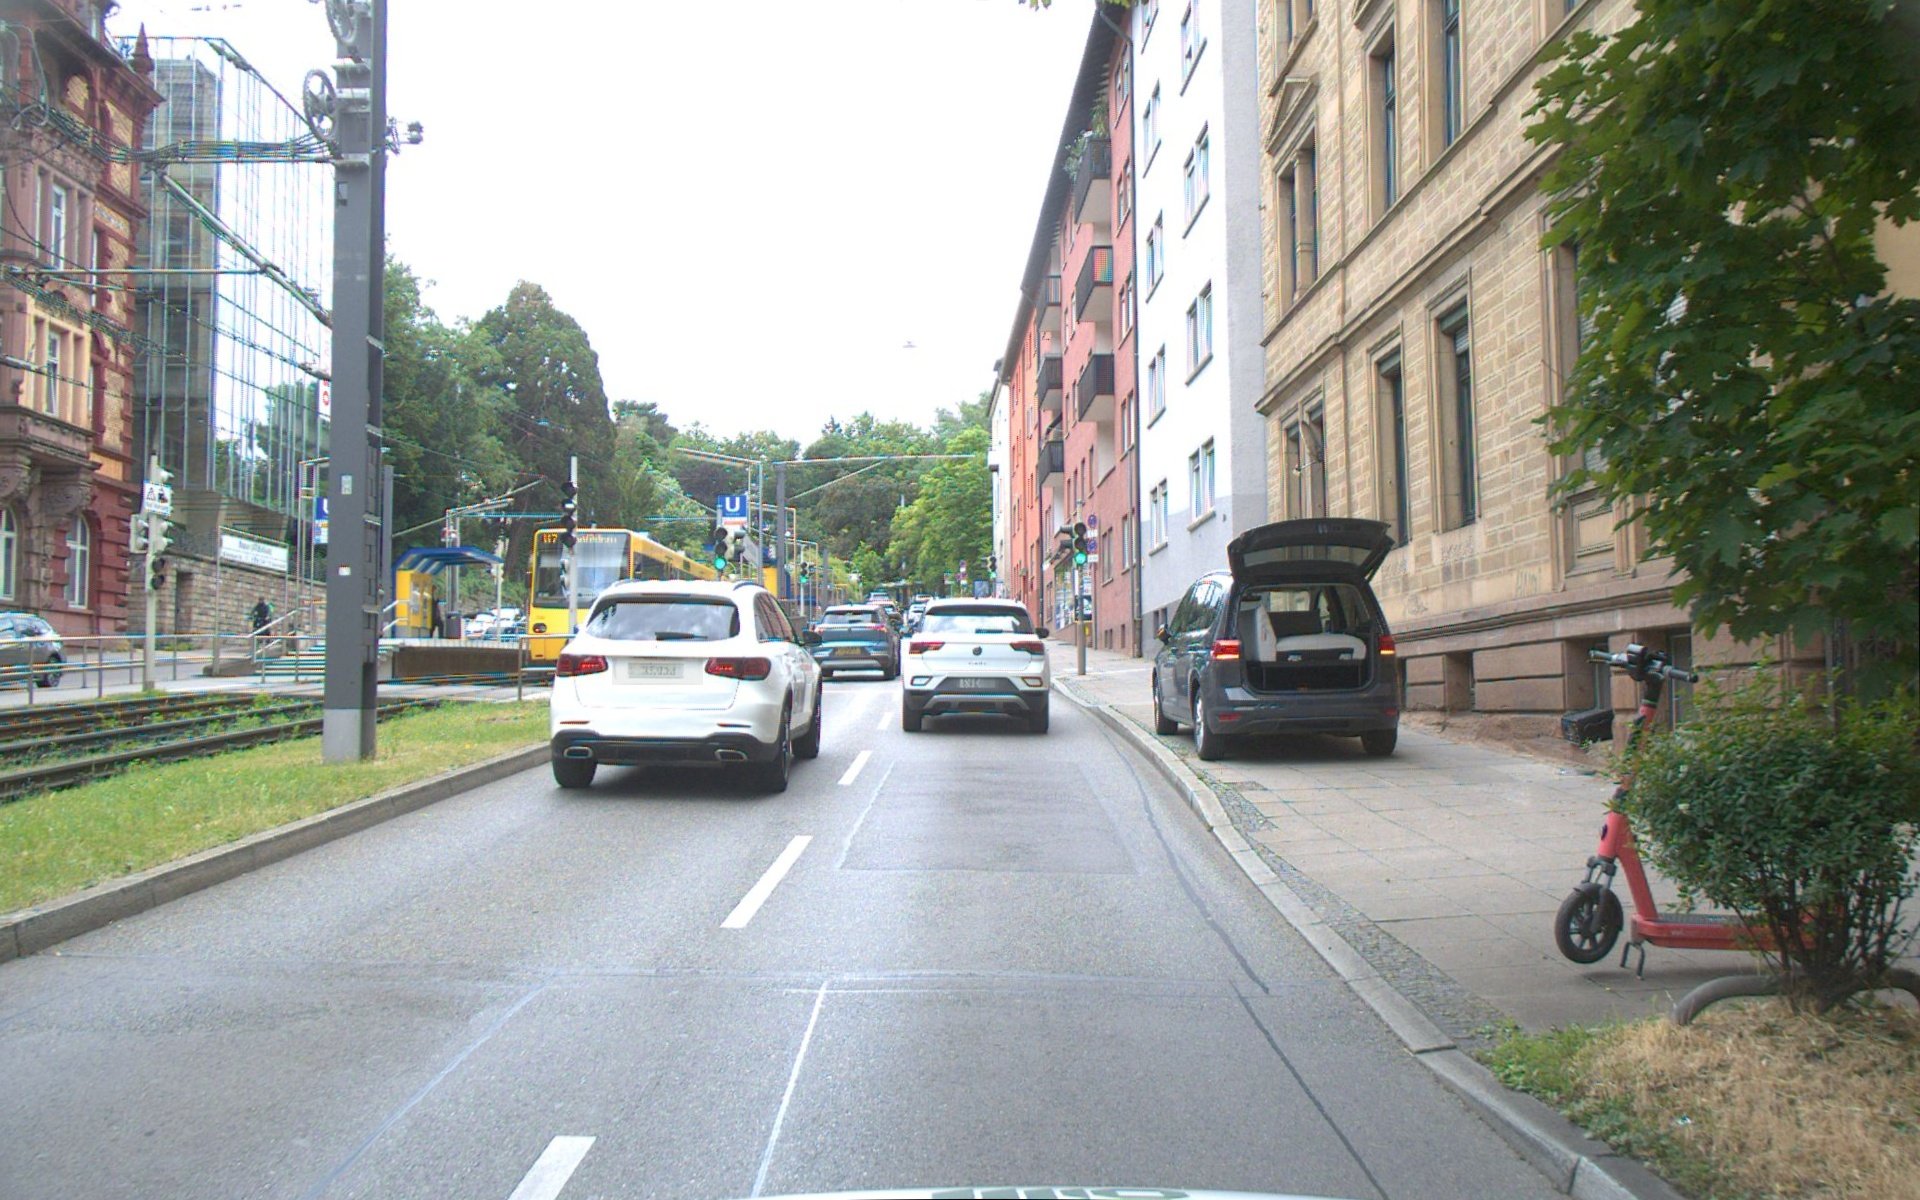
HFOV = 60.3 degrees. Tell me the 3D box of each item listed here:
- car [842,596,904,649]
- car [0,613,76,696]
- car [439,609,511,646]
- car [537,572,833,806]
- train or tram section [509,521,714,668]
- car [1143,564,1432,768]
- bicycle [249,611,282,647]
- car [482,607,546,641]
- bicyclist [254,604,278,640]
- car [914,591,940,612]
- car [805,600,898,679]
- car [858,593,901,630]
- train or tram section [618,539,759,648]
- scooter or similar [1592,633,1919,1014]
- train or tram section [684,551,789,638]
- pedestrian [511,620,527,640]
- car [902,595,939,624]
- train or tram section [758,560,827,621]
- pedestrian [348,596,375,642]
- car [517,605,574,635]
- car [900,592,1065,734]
[{"bbox_3d":[-2.709,0.678,52.294,1.798,1.573,4.192,1,0,-1],"label":"car"},{"bbox_3d":[-17.819,0.973,29.520,1.953,1.427,3.999,0,0,-1],"label":"car"},{"bbox_3d":[-19.745,1.103,67.502,1.793,1.427,3.999,0,0,-1],"label":"car"},{"bbox_3d":[-2.213,0.658,14.563,1.798,1.696,4.670,1,0,0],"label":"car"},{"bbox_3d":[-9.105,-0.134,45.185,2.935,3.407,13.436,0,0,-1],"label":"train or tram section"},{"bbox_3d":[2.961,0.548,15.867,1.798,1.629,4.192,-2,0,-1],"label":"car"},{"bbox_3d":[-23.196,0.957,55.287,0.561,1.163,1.303,0,0,-1],"label":"bicycle"},{"bbox_3d":[-19.899,1.056,73.920,1.793,1.427,3.999,0,0,-1],"label":"car"},{"bbox_3d":[-23.193,0.735,55.288,0.508,1.212,0.655,0,0,-1],"label":"bicyclist"},{"bbox_3d":[-2.636,0.129,131.543,2.026,1.573,4.192,1,0,-2],"label":"car"},{"bbox_3d":[-2.271,0.801,35.587,1.798,1.573,4.192,1,0,-1],"label":"car"},{"bbox_3d":[-3.620,0.497,74.699,1.798,1.573,4.192,1,0,-1],"label":"car"},{"bbox_3d":[-9.341,-0.202,58.645,2.935,3.407,13.527,0,0,-1],"label":"train or tram section"},{"bbox_3d":[2.583,0.691,5.223,1.015,1.138,0.331,-2,0,4],"label":"scooter or similar"},{"bbox_3d":[-9.529,-0.233,72.146,2.935,3.407,13.436,0,0,-1],"label":"train or tram section"},{"bbox_3d":[-16.001,1.093,60.000,0.422,0.694,0.490,0,0,-1],"label":"pedestrian"},{"bbox_3d":[-2.247,0.538,94.139,2.026,1.573,4.192,1,0,-2],"label":"car"},{"bbox_3d":[-9.913,-0.521,99.050,2.935,3.407,13.436,0,0,-1],"label":"train or tram section"},{"bbox_3d":[-23.753,0.745,65.647,0.792,1.786,0.816,0,0,-1],"label":"pedestrian"},{"bbox_3d":[-19.981,0.946,79.938,1.793,1.427,3.999,0,0,-1],"label":"car"},{"bbox_3d":[0.179,0.711,20.789,1.799,1.573,4.191,1,0,-3],"label":"car"}]
